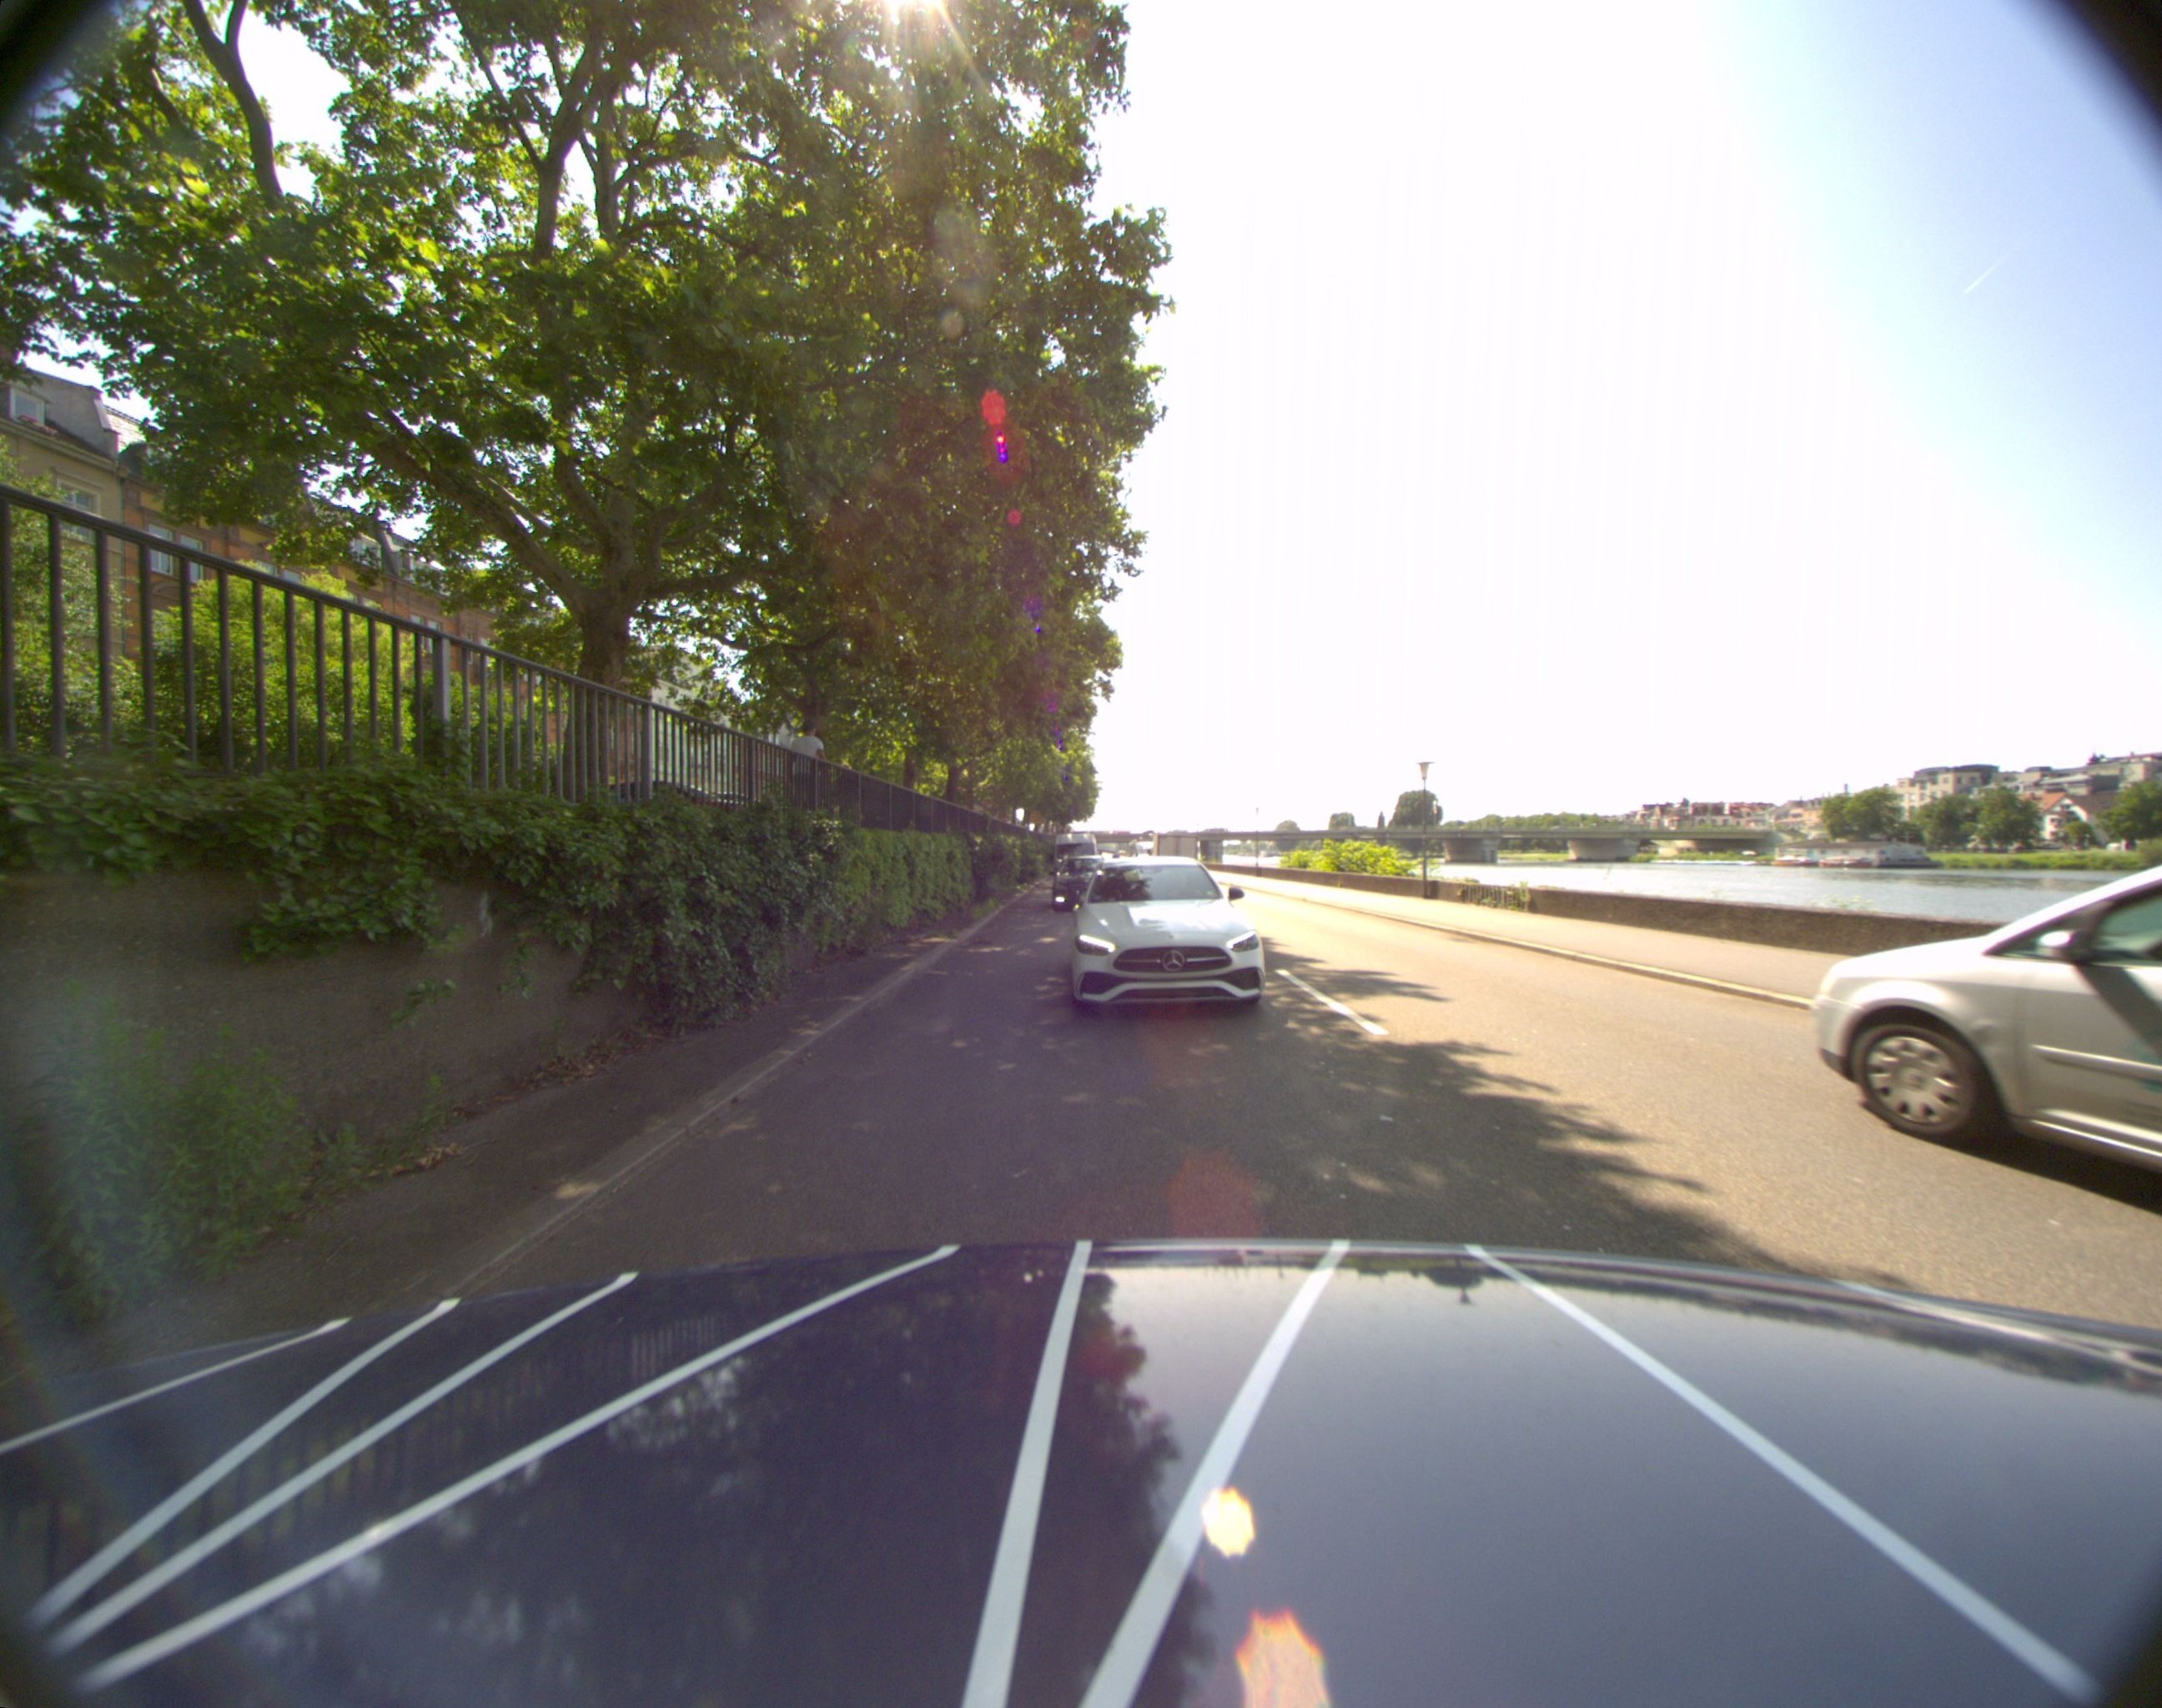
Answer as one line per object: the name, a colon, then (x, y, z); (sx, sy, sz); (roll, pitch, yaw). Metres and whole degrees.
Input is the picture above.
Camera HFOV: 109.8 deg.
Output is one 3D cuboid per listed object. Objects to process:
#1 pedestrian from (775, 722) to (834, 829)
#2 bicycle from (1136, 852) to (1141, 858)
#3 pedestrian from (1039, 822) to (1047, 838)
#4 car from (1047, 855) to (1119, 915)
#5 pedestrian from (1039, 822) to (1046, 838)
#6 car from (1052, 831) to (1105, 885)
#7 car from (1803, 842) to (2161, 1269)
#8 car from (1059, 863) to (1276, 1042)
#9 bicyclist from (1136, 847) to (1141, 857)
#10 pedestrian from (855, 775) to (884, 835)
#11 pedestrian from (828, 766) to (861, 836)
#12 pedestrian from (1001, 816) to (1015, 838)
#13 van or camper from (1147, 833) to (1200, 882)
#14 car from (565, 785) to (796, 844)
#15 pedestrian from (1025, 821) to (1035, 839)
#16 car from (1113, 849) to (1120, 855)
pedestrian: (-4.235, -1.183, 11.687); (0.666, 1.582, 0.650); (0, 1, 0)
bicycle: (9.598, 0.133, 126.177); (0.654, 0.977, 1.943); (0, 1, 0)
pedestrian: (-3.795, -2.430, 75.721); (0.738, 1.582, 0.810); (0, 1, 0)
car: (0.029, 0.781, 21.694); (1.756, 1.385, 4.618); (-4, 0, -1)
pedestrian: (-3.851, -2.446, 76.578); (0.666, 1.582, 0.764); (0, 1, 0)
car: (-0.157, 0.155, 36.999); (2.351, 2.429, 6.207); (0, 1, -1)
car: (5.028, 0.793, 2.276); (1.736, 1.640, 4.177); (1, 0, 0)
car: (0.760, 0.870, 8.786); (1.830, 1.411, 4.552); (-2, 0, 0)
bicyclist: (9.581, -0.346, 126.194); (0.663, 1.692, 0.975); (0, 1, 0)
pedestrian: (-5.121, -1.177, 18.426); (0.586, 1.411, 0.589); (0, 1, -8)
pedestrian: (-5.711, -1.264, 18.344); (0.649, 1.631, 0.626); (0, 1, -8)
pedestrian: (-4.184, -1.543, 43.730); (0.713, 1.236, 0.742); (0, 1, 0)
van or camper: (4.786, 0.170, 39.957); (2.082, 2.384, 5.384); (1, 1, 0)
car: (-7.891, -0.766, 15.244); (3.741, 1.108, 1.650); (0, 1, -3)
pedestrian: (-4.348, -2.036, 64.767); (0.738, 1.582, 0.810); (0, 1, 0)
car: (8.981, -0.577, 191.437); (1.676, 1.433, 3.901); (-1, 0, 0)
